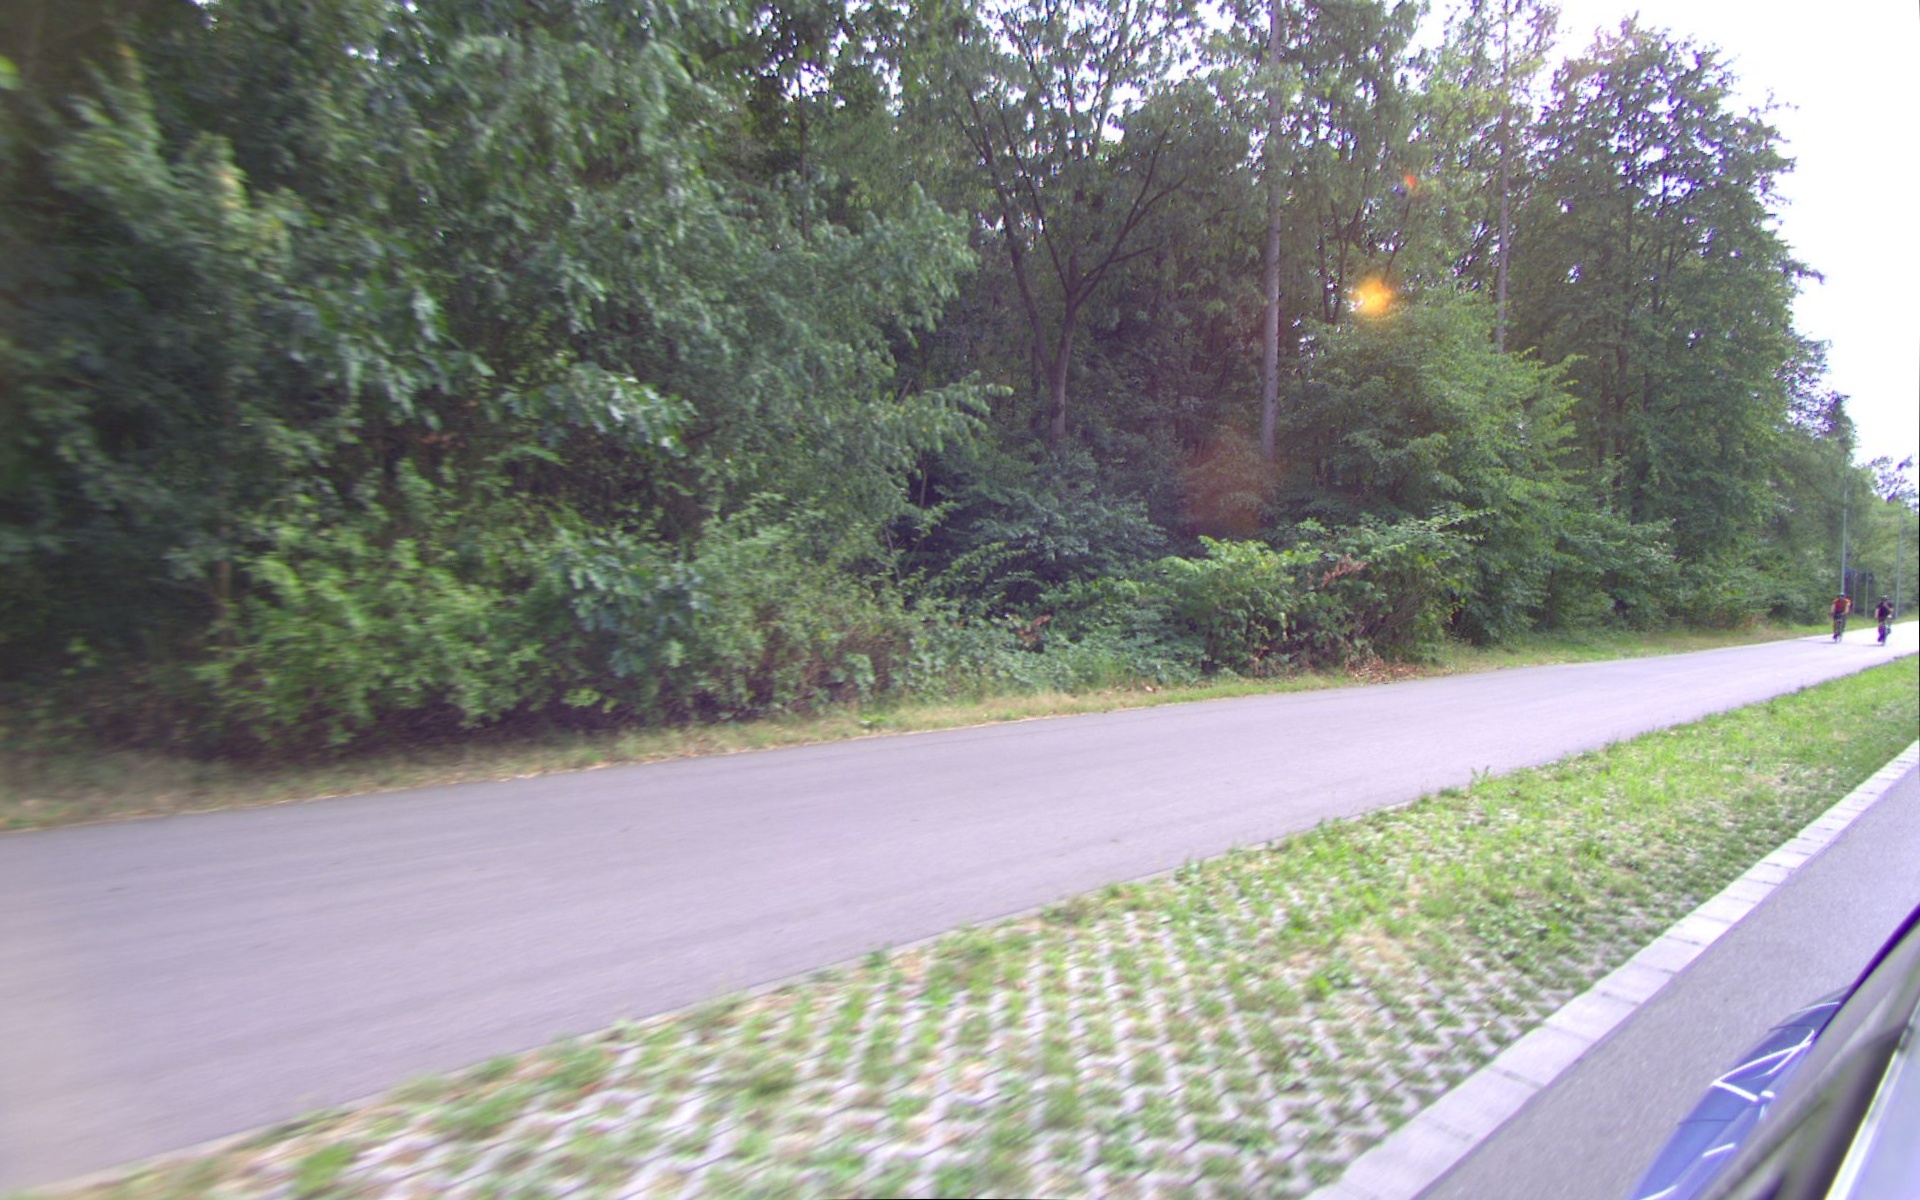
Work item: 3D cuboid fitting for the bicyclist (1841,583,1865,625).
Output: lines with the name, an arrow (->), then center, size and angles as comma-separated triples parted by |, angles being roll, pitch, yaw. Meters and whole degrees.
bicyclist -> 31.410, 0.125, 35.597 | 1.167, 1.433, 0.520 | -1, 0, -44

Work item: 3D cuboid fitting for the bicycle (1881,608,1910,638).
bicycle -> 32.170, 0.785, 34.795 | 1.725, 0.922, 0.566 | -1, 4, -44

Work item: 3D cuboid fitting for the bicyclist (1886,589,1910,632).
bicyclist -> 32.156, 0.361, 34.690 | 1.167, 1.433, 0.520 | -1, 2, -44

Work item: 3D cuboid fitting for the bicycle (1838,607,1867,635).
bicycle -> 31.409, 0.742, 35.615 | 1.855, 0.923, 0.566 | 1, 3, -44
